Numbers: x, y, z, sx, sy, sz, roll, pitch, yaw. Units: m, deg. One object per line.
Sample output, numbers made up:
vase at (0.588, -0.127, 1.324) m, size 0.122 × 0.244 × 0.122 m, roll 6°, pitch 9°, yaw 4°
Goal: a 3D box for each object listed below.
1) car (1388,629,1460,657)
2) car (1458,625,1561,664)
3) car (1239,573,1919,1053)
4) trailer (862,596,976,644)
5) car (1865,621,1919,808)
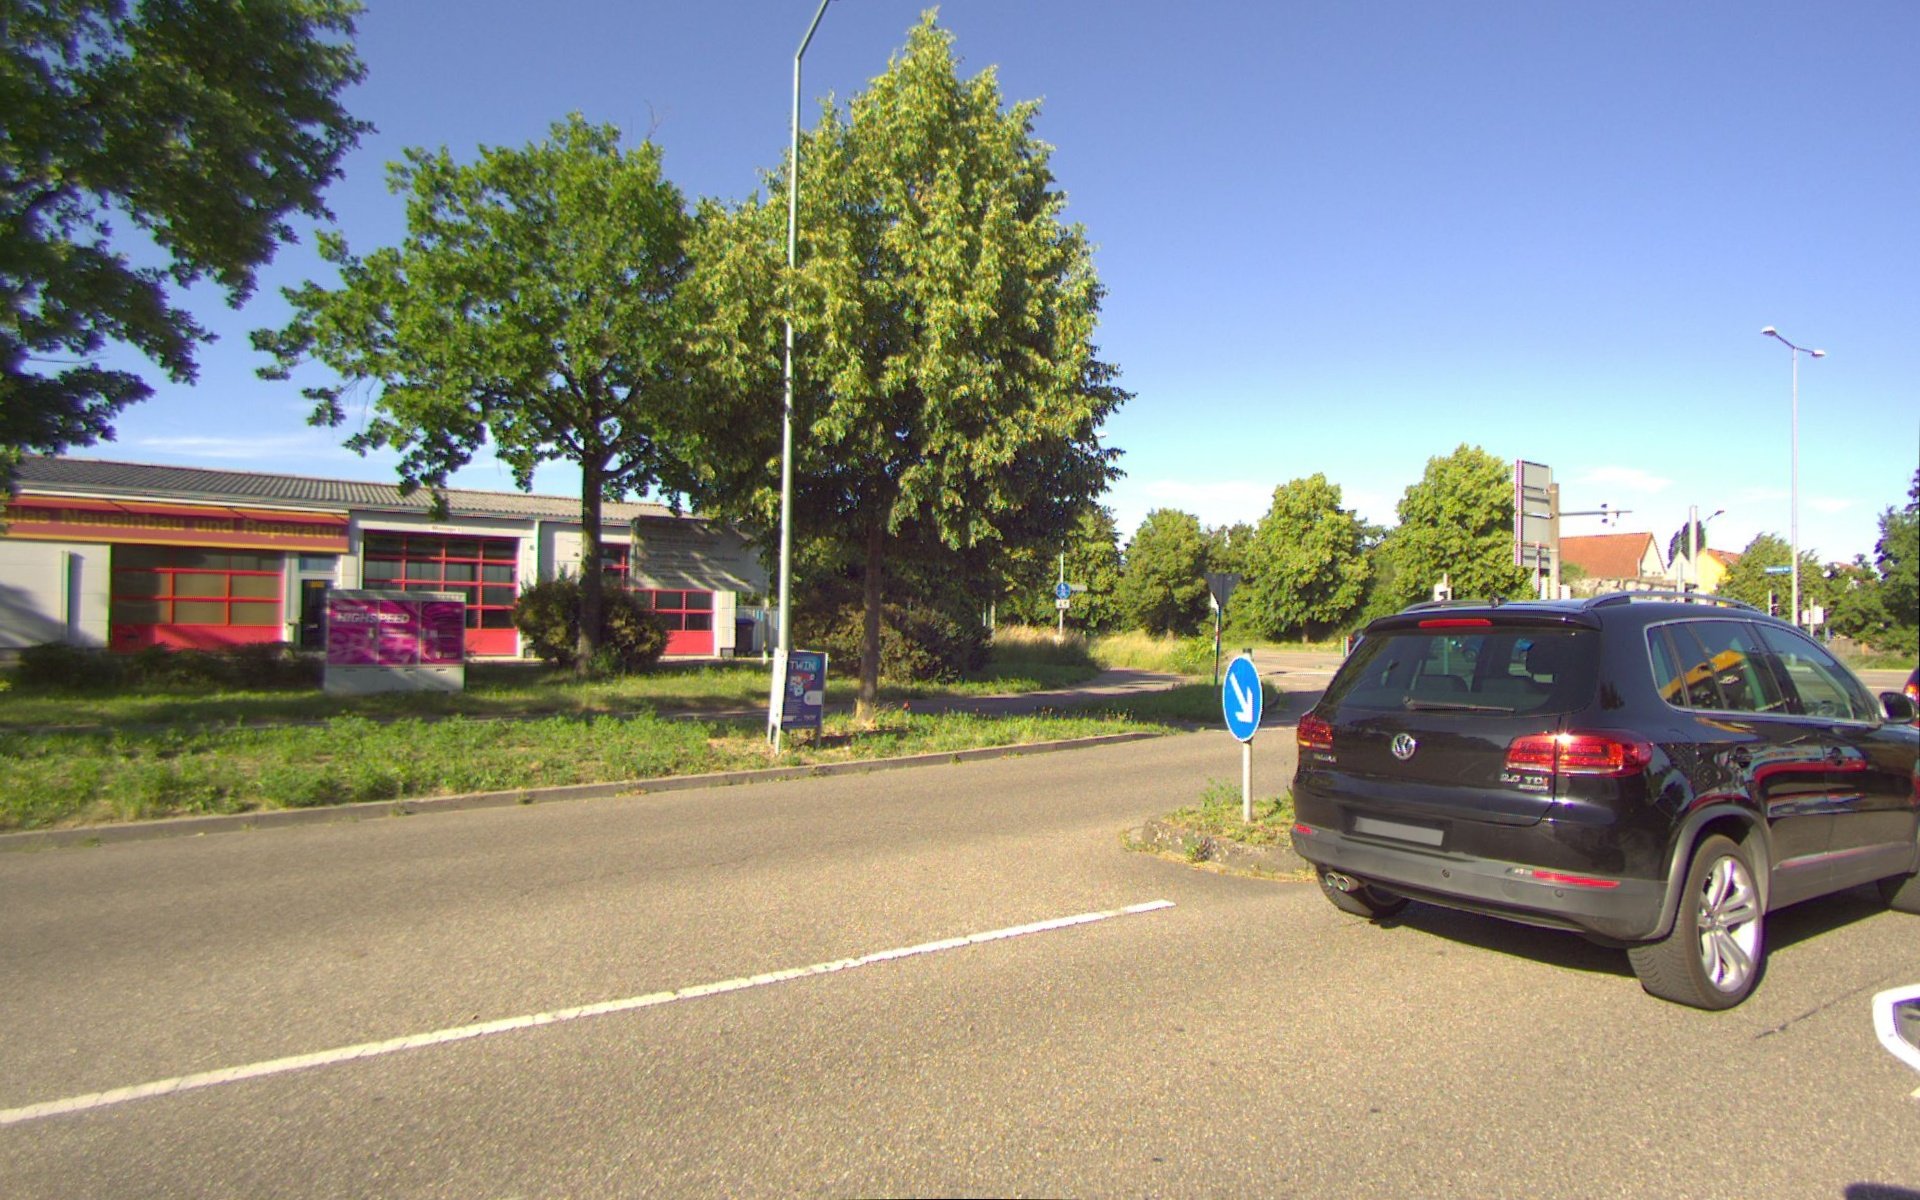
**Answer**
car at (26.311, 2.435, 57.058) m, size 3.524 × 1.478 × 1.577 m, roll 0°, pitch -2°, yaw 19°
car at (23.755, 1.901, 43.495) m, size 1.733 × 1.581 × 3.559 m, roll 2°, pitch -2°, yaw -35°
car at (3.546, 0.822, 5.315) m, size 3.954 × 1.675 × 1.763 m, roll 1°, pitch -3°, yaw -31°
trailer at (-4.297, 1.832, 99.127) m, size 3.407 × 4.241 × 15.205 m, roll 2°, pitch 0°, yaw -36°
car at (10.225, 1.007, 9.215) m, size 3.954 × 1.610 × 1.753 m, roll 1°, pitch -3°, yaw -31°
